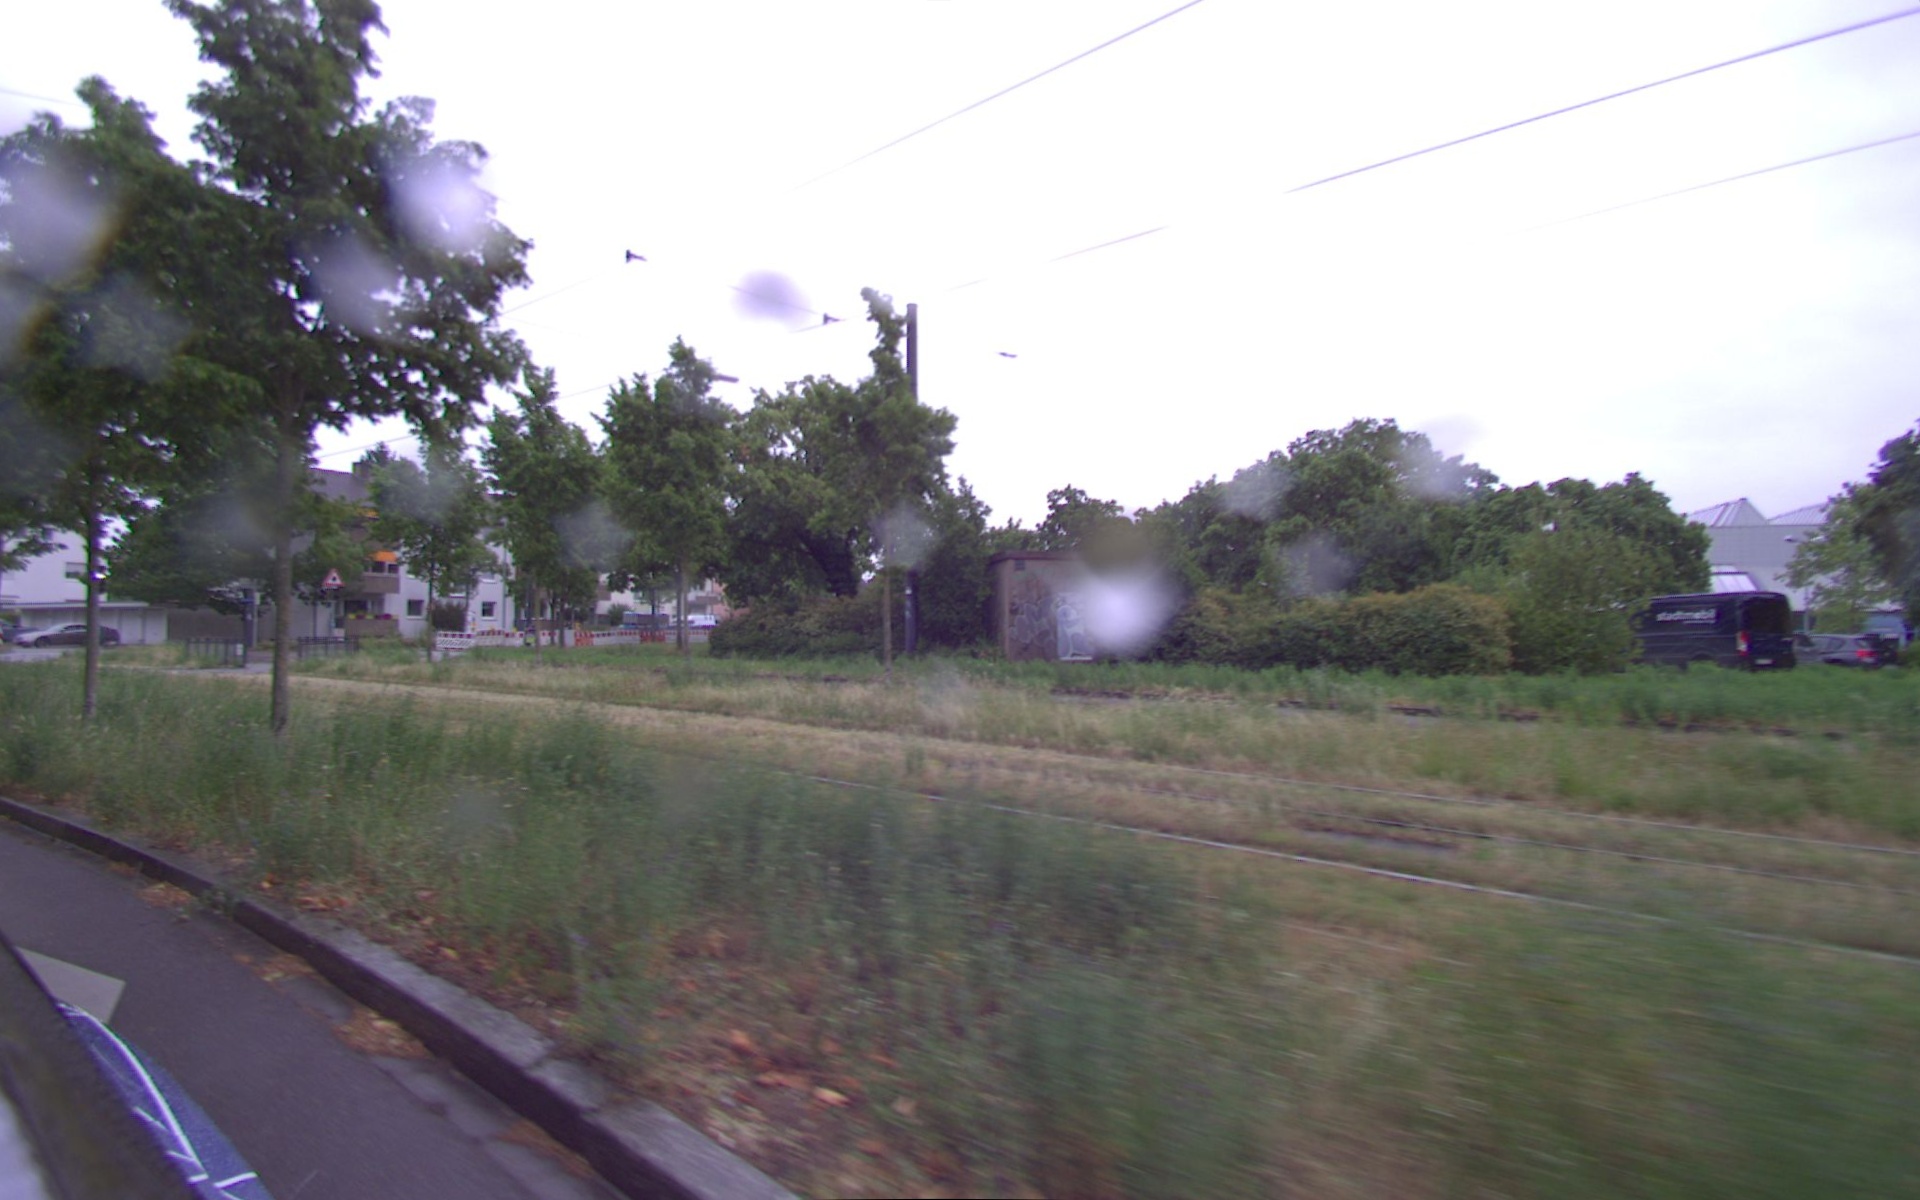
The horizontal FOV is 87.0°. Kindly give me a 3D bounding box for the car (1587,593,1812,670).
[{"bbox_3d":[20.325,0.896,28.110,2.002,1.962,4.729,1,-2,-17],"label":"car"}]

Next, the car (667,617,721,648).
[{"bbox_3d":[-21.777,2.674,82.981,1.905,2.465,4.435,-1,-3,23],"label":"car"}]

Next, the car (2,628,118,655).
[{"bbox_3d":[-51.688,2.362,58.235,1.838,1.376,4.699,-1,-1,26],"label":"car"}]

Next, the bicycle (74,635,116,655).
[{"bbox_3d":[-47.045,2.449,55.045,1.816,1.027,0.482,-1,1,0],"label":"bicycle"}]

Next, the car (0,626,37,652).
[{"bbox_3d":[-59.191,2.360,61.616,1.880,1.588,3.969,-1,-2,23],"label":"car"}]

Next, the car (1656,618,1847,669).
[{"bbox_3d":[22.864,1.262,29.458,1.806,1.349,4.108,1,-2,-14],"label":"car"}]

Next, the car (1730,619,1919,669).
[{"bbox_3d":[25.288,1.287,29.625,1.806,1.349,4.108,1,-2,-14],"label":"car"}]
